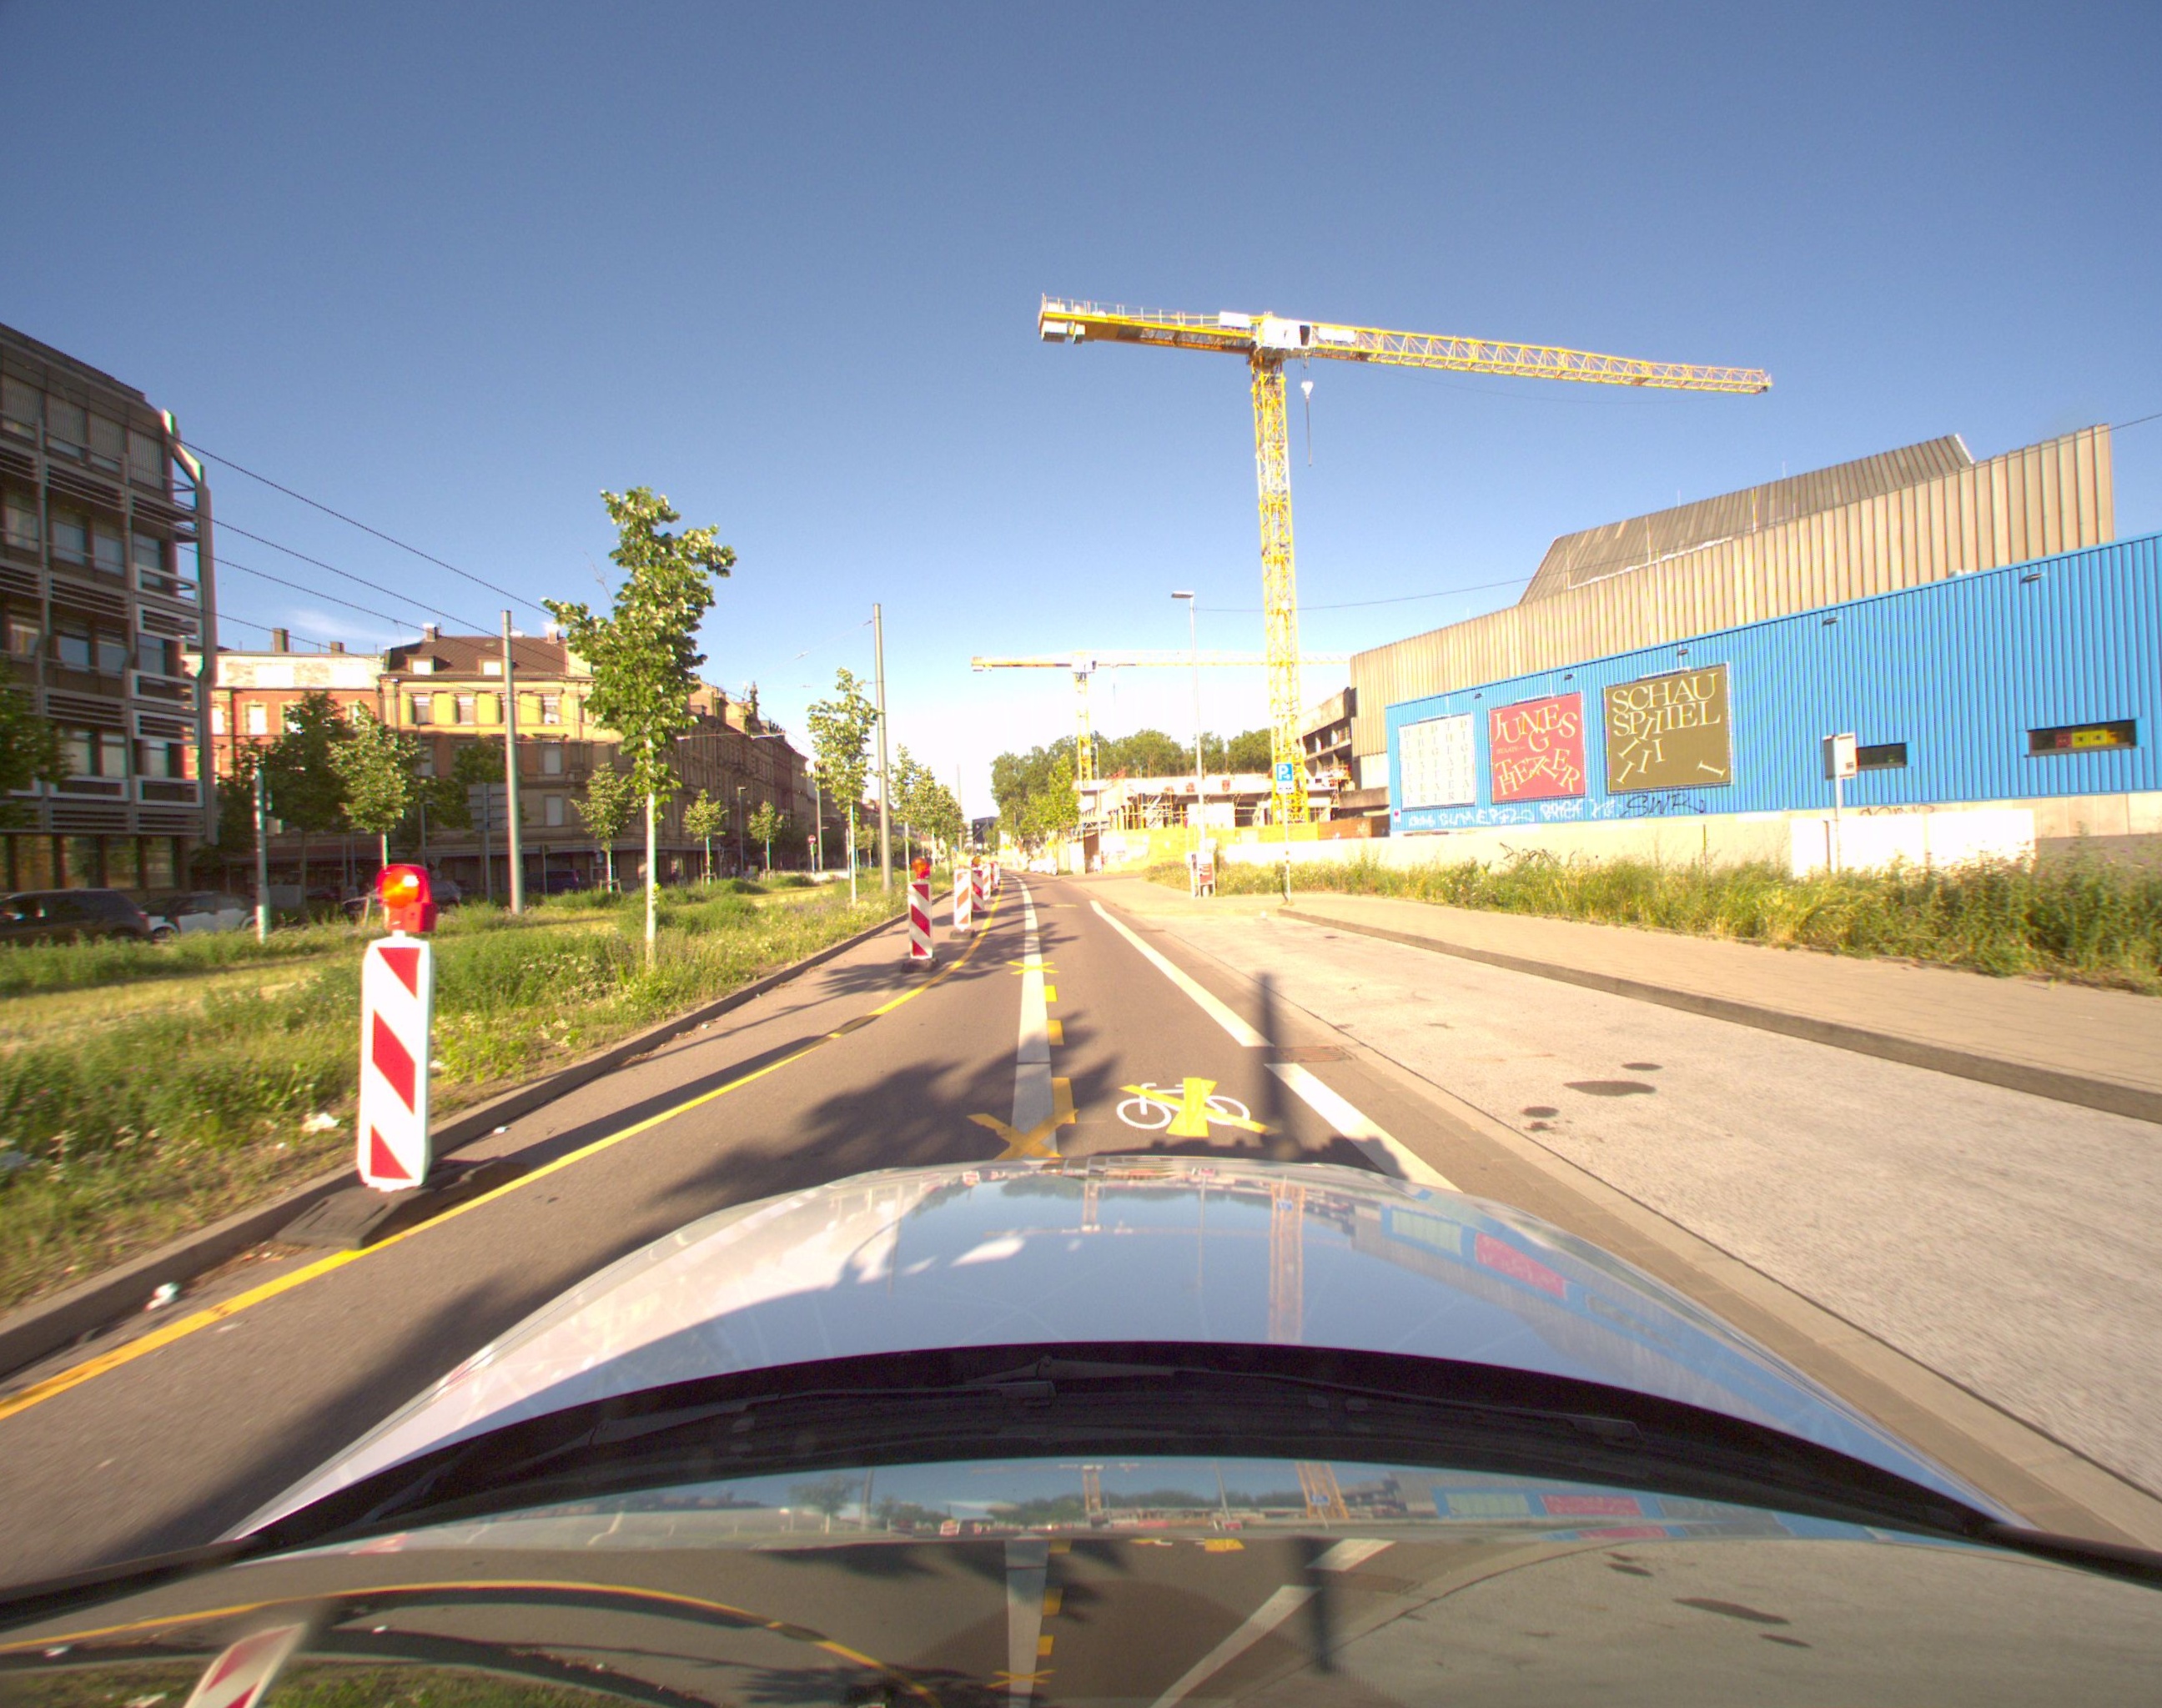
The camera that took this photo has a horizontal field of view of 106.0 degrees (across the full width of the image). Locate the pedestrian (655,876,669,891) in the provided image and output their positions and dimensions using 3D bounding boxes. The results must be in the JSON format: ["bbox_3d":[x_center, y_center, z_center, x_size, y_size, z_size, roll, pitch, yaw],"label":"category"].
[{"bbox_3d":[-34.660,2.434,67.380,0.689,1.246,0.927,-2,-1,-8],"label":"pedestrian"}]

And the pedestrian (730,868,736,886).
[{"bbox_3d":[-35.243,2.332,82.439,0.507,1.765,0.405,0,-1,-9],"label":"pedestrian"}]

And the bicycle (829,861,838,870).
[{"bbox_3d":[-31.080,1.440,102.225,0.694,0.978,1.822,-2,0,-7],"label":"bicycle"}]

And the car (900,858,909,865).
[{"bbox_3d":[-44.656,1.895,206.083,1.593,1.483,3.614,-3,0,-7],"label":"car"}]

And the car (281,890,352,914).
[{"bbox_3d":[-51.534,3.218,54.944,3.056,1.409,1.573,-2,0,-13],"label":"car"}]

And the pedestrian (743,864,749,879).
[{"bbox_3d":[-33.870,1.769,82.290,0.486,1.585,0.532,0,-1,-9],"label":"pedestrian"}]

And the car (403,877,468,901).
[{"bbox_3d":[-44.582,2.396,56.316,3.148,1.468,1.378,-2,0,-13],"label":"car"}]

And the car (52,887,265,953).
[{"bbox_3d":[-26.614,1.848,23.722,1.644,1.554,3.965,-2,0,0],"label":"car"}]

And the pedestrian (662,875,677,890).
[{"bbox_3d":[-34.944,2.425,69.193,0.790,1.208,0.927,-2,-1,-8],"label":"pedestrian"}]

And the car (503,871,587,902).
[{"bbox_3d":[-38.018,2.300,57.866,4.514,1.903,1.890,-2,0,-13],"label":"car"}]

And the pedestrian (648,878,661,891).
[{"bbox_3d":[-35.569,2.546,67.912,0.689,1.059,0.734,-2,-1,-8],"label":"pedestrian"}]

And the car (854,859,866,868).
[{"bbox_3d":[-39.368,1.659,145.020,1.566,1.562,4.700,-2,0,-9],"label":"car"}]

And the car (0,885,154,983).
[{"bbox_3d":[-21.228,1.584,15.853,1.724,1.746,4.117,-2,0,-3],"label":"car"}]

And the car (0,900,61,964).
[{"bbox_3d":[-26.146,1.860,18.304,1.620,1.441,3.817,-1,0,-1],"label":"car"}]

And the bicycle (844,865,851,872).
[{"bbox_3d":[-33.058,2.035,115.263,0.636,0.857,2.026,-2,0,-7],"label":"bicycle"}]

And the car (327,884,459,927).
[{"bbox_3d":[-27.127,1.991,32.283,1.722,1.461,3.905,0,0,4],"label":"car"}]

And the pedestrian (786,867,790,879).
[{"bbox_3d":[-38.973,2.468,108.402,0.403,1.585,0.424,0,-1,-9],"label":"pedestrian"}]

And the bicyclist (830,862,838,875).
[{"bbox_3d":[-31.148,1.804,102.671,0.694,1.657,0.880,-2,-1,-8],"label":"bicyclist"}]
